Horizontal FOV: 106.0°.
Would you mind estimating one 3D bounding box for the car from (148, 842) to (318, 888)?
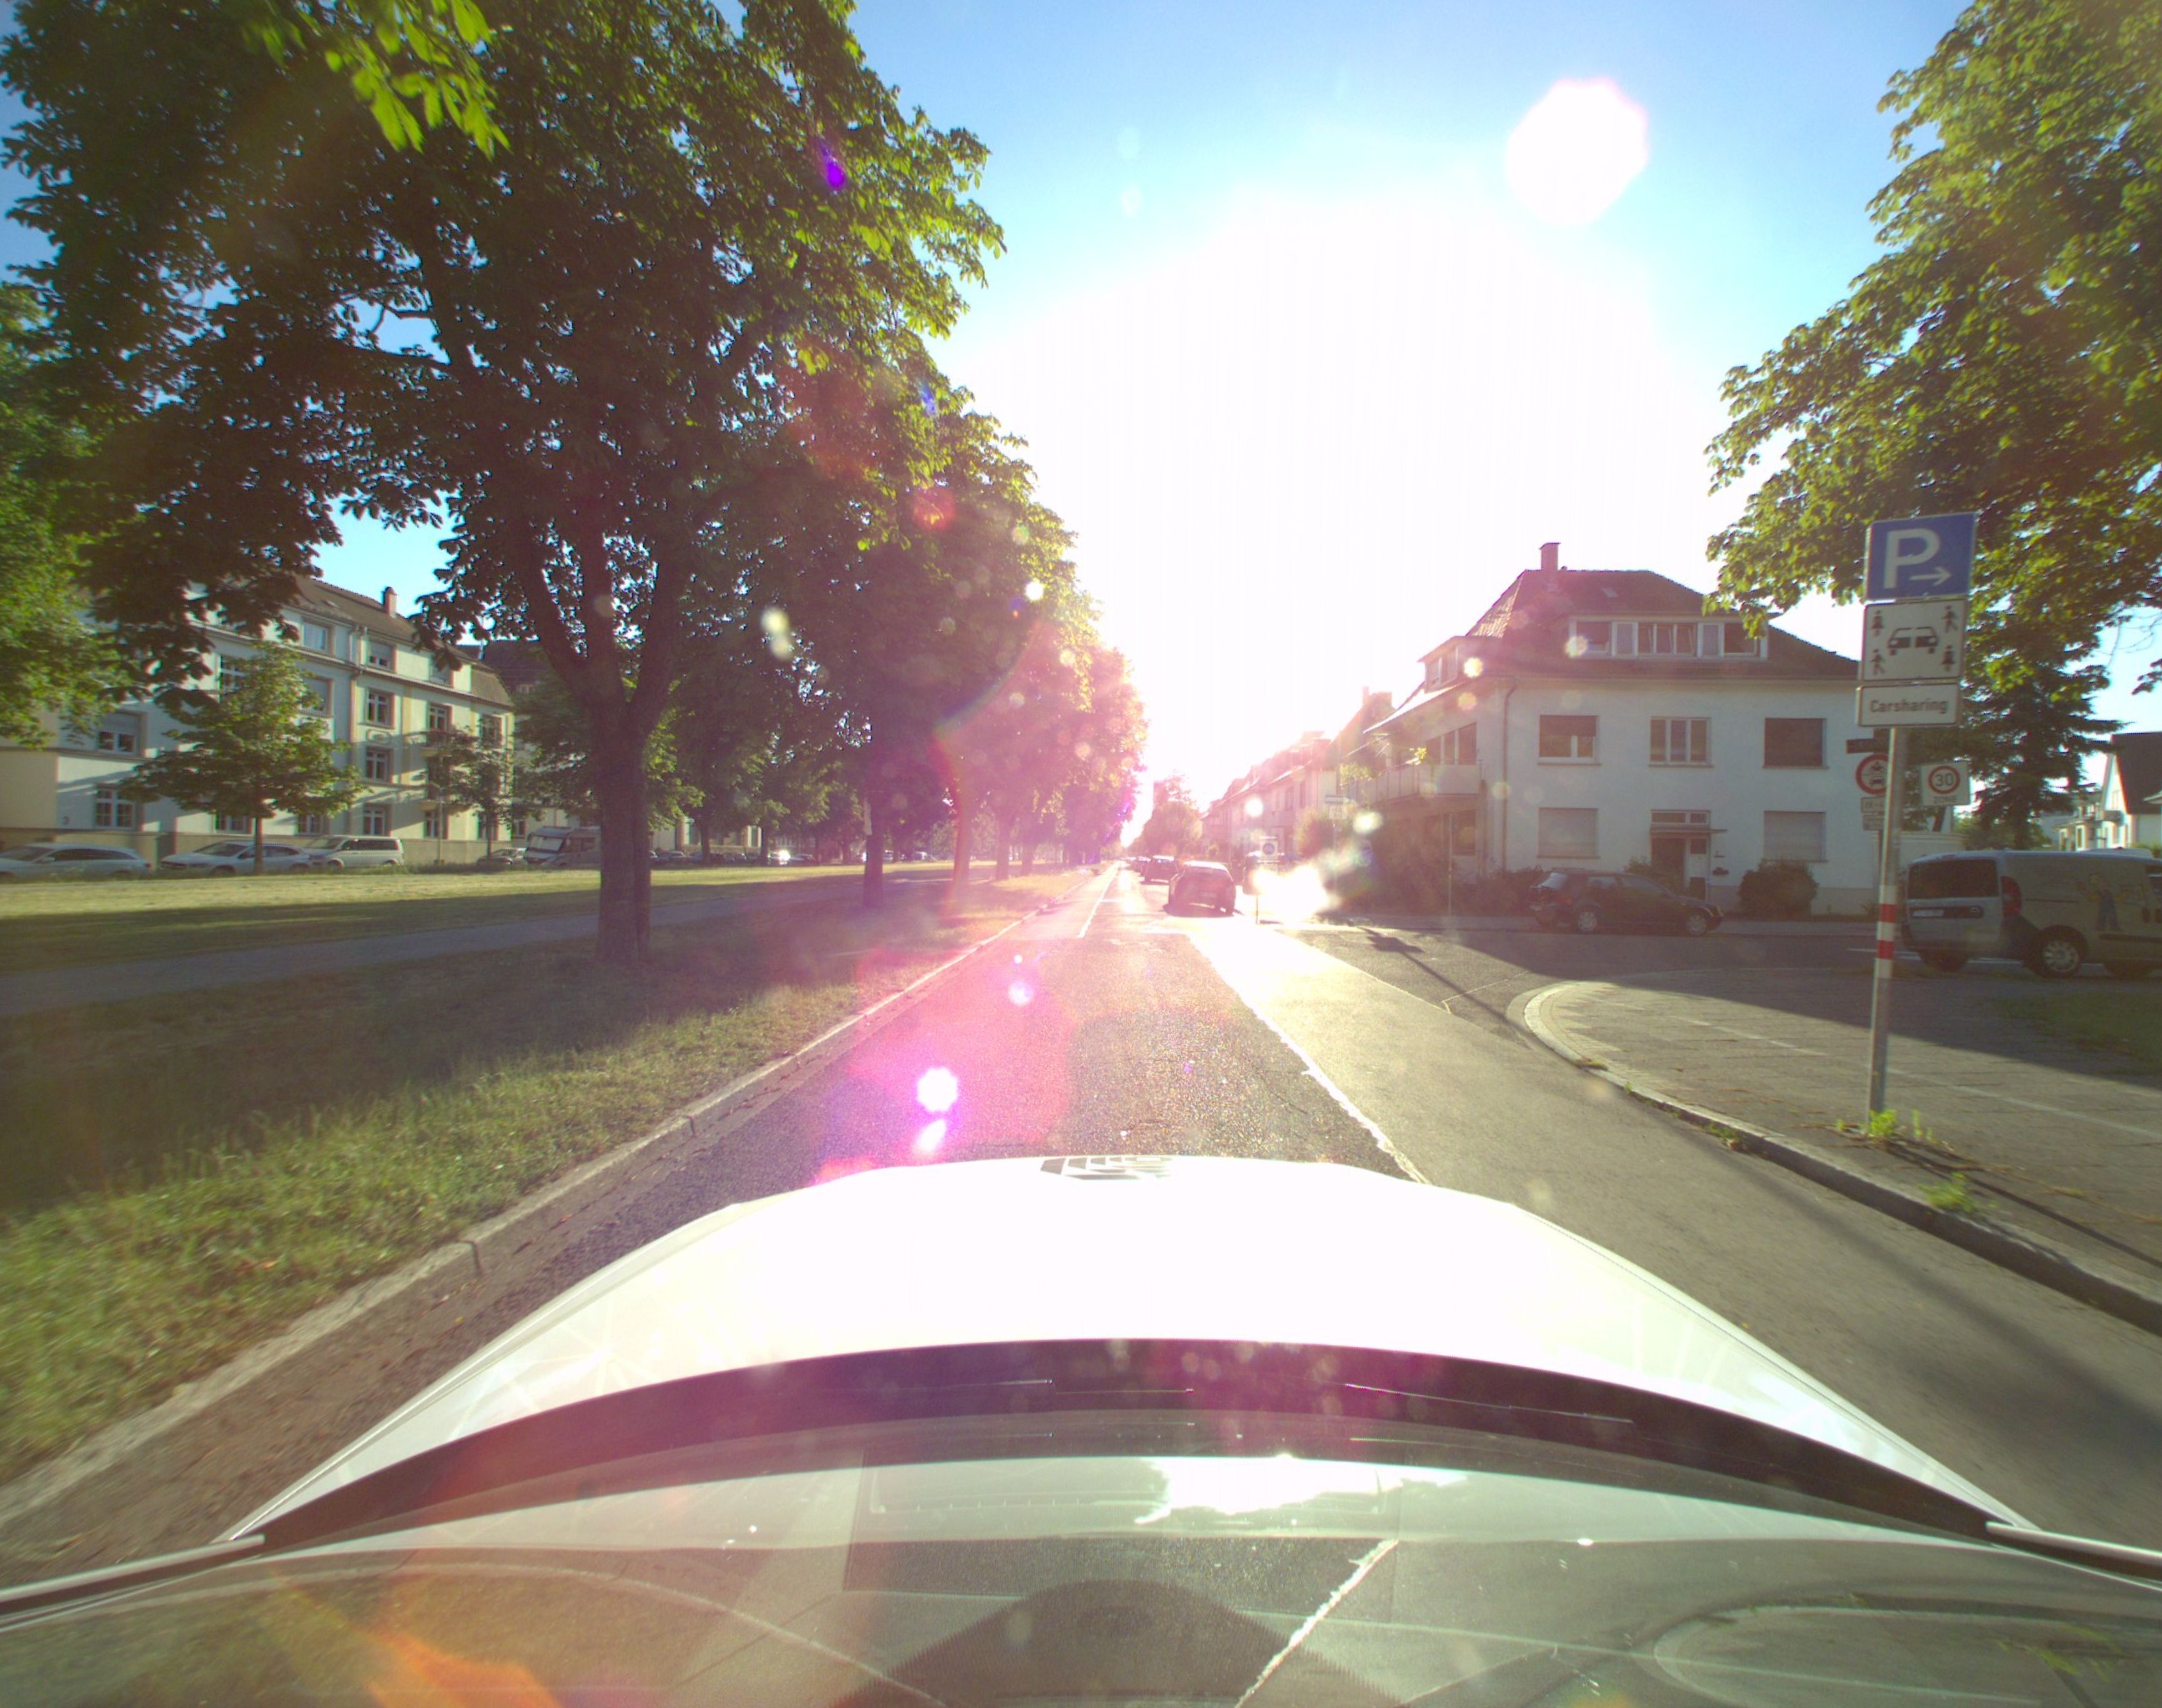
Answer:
[{"bbox_3d":[-32.651,0.380,31.569,1.789,1.554,4.420,3,0,1],"label":"car"}]

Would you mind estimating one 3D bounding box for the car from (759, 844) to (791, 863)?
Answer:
[{"bbox_3d":[-35.324,-0.067,94.107,1.986,2.014,4.000,3,-1,1],"label":"car"}]

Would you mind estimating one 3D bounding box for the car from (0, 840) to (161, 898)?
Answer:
[{"bbox_3d":[-33.007,0.451,25.907,1.984,1.659,4.575,3,-1,4],"label":"car"}]

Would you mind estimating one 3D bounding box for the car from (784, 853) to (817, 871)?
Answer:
[{"bbox_3d":[-29.917,0.846,87.005,1.804,1.781,4.126,3,-1,4],"label":"car"}]

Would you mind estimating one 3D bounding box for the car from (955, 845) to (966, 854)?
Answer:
[{"bbox_3d":[-30.889,-1.169,209.240,1.985,1.913,4.002,3,-1,3],"label":"car"}]

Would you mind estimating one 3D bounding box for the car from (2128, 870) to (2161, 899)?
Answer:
[{"bbox_3d":[65.388,1.877,49.633,3.651,1.671,1.620,4,-1,-43],"label":"car"}]

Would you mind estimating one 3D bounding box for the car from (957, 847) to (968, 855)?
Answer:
[{"bbox_3d":[-30.422,-0.763,209.177,1.988,2.014,3.998,3,-1,-1],"label":"car"}]

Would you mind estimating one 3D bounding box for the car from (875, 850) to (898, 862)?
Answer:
[{"bbox_3d":[-28.116,0.330,117.706,2.014,1.659,3.987,3,-1,3],"label":"car"}]

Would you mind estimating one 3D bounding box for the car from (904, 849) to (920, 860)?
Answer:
[{"bbox_3d":[-28.441,0.073,136.993,1.722,1.690,3.879,3,-2,1],"label":"car"}]

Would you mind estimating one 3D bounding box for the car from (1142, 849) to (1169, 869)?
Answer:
[{"bbox_3d":[6.303,0.433,69.343,1.986,1.653,4.001,1,-1,2],"label":"car"}]

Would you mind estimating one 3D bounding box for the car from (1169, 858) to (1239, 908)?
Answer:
[{"bbox_3d":[3.790,0.868,25.691,1.702,1.359,4.206,3,-1,3],"label":"car"}]

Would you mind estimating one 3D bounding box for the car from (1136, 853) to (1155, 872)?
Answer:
[{"bbox_3d":[7.491,1.005,95.098,1.986,2.014,4.001,3,-1,2],"label":"car"}]

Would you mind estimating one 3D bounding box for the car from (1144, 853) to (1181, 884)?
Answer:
[{"bbox_3d":[5.115,0.889,51.474,1.986,1.781,4.002,3,0,2],"label":"car"}]

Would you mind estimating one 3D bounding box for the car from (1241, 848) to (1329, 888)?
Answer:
[{"bbox_3d":[10.152,0.709,40.717,3.976,1.823,1.758,0,-6,-2],"label":"car"}]

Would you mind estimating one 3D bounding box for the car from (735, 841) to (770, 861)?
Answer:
[{"bbox_3d":[-35.390,-0.330,87.773,1.986,2.014,4.000,3,-1,1],"label":"car"}]

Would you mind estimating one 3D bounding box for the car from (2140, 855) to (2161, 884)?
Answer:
[{"bbox_3d":[80.684,1.184,60.569,4.021,2.014,1.976,4,-1,-43],"label":"car"}]

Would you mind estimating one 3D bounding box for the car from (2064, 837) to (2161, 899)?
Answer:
[{"bbox_3d":[42.879,0.630,33.911,4.544,2.337,2.087,4,-1,-44],"label":"car"}]

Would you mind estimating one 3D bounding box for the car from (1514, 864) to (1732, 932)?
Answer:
[{"bbox_3d":[12.651,0.999,19.184,3.971,1.447,1.717,1,-1,2],"label":"car"}]

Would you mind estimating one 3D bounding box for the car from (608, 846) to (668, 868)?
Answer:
[{"bbox_3d":[-36.831,0.257,67.846,1.987,1.689,5.159,3,-1,1],"label":"car"}]

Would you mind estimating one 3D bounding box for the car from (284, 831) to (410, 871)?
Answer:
[{"bbox_3d":[-37.981,-0.142,42.329,1.986,1.950,4.879,1,0,1],"label":"car"}]

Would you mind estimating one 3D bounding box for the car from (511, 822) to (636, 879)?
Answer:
[{"bbox_3d":[-31.647,-0.211,51.267,2.382,3.130,7.859,3,0,3],"label":"car"}]

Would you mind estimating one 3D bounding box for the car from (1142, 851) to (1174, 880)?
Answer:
[{"bbox_3d":[5.389,0.825,57.313,1.876,1.860,4.001,3,-1,1],"label":"car"}]

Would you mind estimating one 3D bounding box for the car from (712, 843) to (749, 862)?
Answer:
[{"bbox_3d":[-35.702,-0.136,83.073,1.857,1.803,3.918,3,-1,3],"label":"car"}]

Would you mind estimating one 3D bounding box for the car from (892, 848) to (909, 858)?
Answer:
[{"bbox_3d":[-32.669,-0.151,147.195,1.986,1.618,4.000,3,-1,1],"label":"car"}]

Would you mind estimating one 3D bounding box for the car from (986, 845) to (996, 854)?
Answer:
[{"bbox_3d":[-22.534,-1.051,203.904,1.648,1.938,3.568,3,-2,2],"label":"car"}]

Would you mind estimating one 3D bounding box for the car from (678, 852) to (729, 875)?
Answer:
[{"bbox_3d":[-30.934,0.784,66.825,1.871,1.674,4.319,3,-1,3],"label":"car"}]

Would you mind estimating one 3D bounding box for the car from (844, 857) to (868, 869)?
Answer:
[{"bbox_3d":[-33.858,1.345,122.636,1.984,1.659,4.360,3,-1,4],"label":"car"}]

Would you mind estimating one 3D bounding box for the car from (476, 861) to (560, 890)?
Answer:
[{"bbox_3d":[-36.792,1.389,53.365,1.984,1.659,4.575,3,-1,4],"label":"car"}]

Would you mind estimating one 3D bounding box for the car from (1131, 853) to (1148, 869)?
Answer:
[{"bbox_3d":[7.885,0.923,109.504,1.986,2.014,4.001,3,-1,2],"label":"car"}]

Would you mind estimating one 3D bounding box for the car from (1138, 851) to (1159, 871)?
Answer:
[{"bbox_3d":[7.404,0.757,89.317,1.986,2.014,4.001,3,-1,2],"label":"car"}]

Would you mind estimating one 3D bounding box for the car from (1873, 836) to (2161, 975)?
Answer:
[{"bbox_3d":[15.157,0.765,12.386,4.225,1.875,2.032,2,-1,2],"label":"car"}]

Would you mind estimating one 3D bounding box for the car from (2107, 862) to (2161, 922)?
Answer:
[{"bbox_3d":[38.322,1.420,28.979,4.021,2.014,1.976,4,-1,-42],"label":"car"}]
